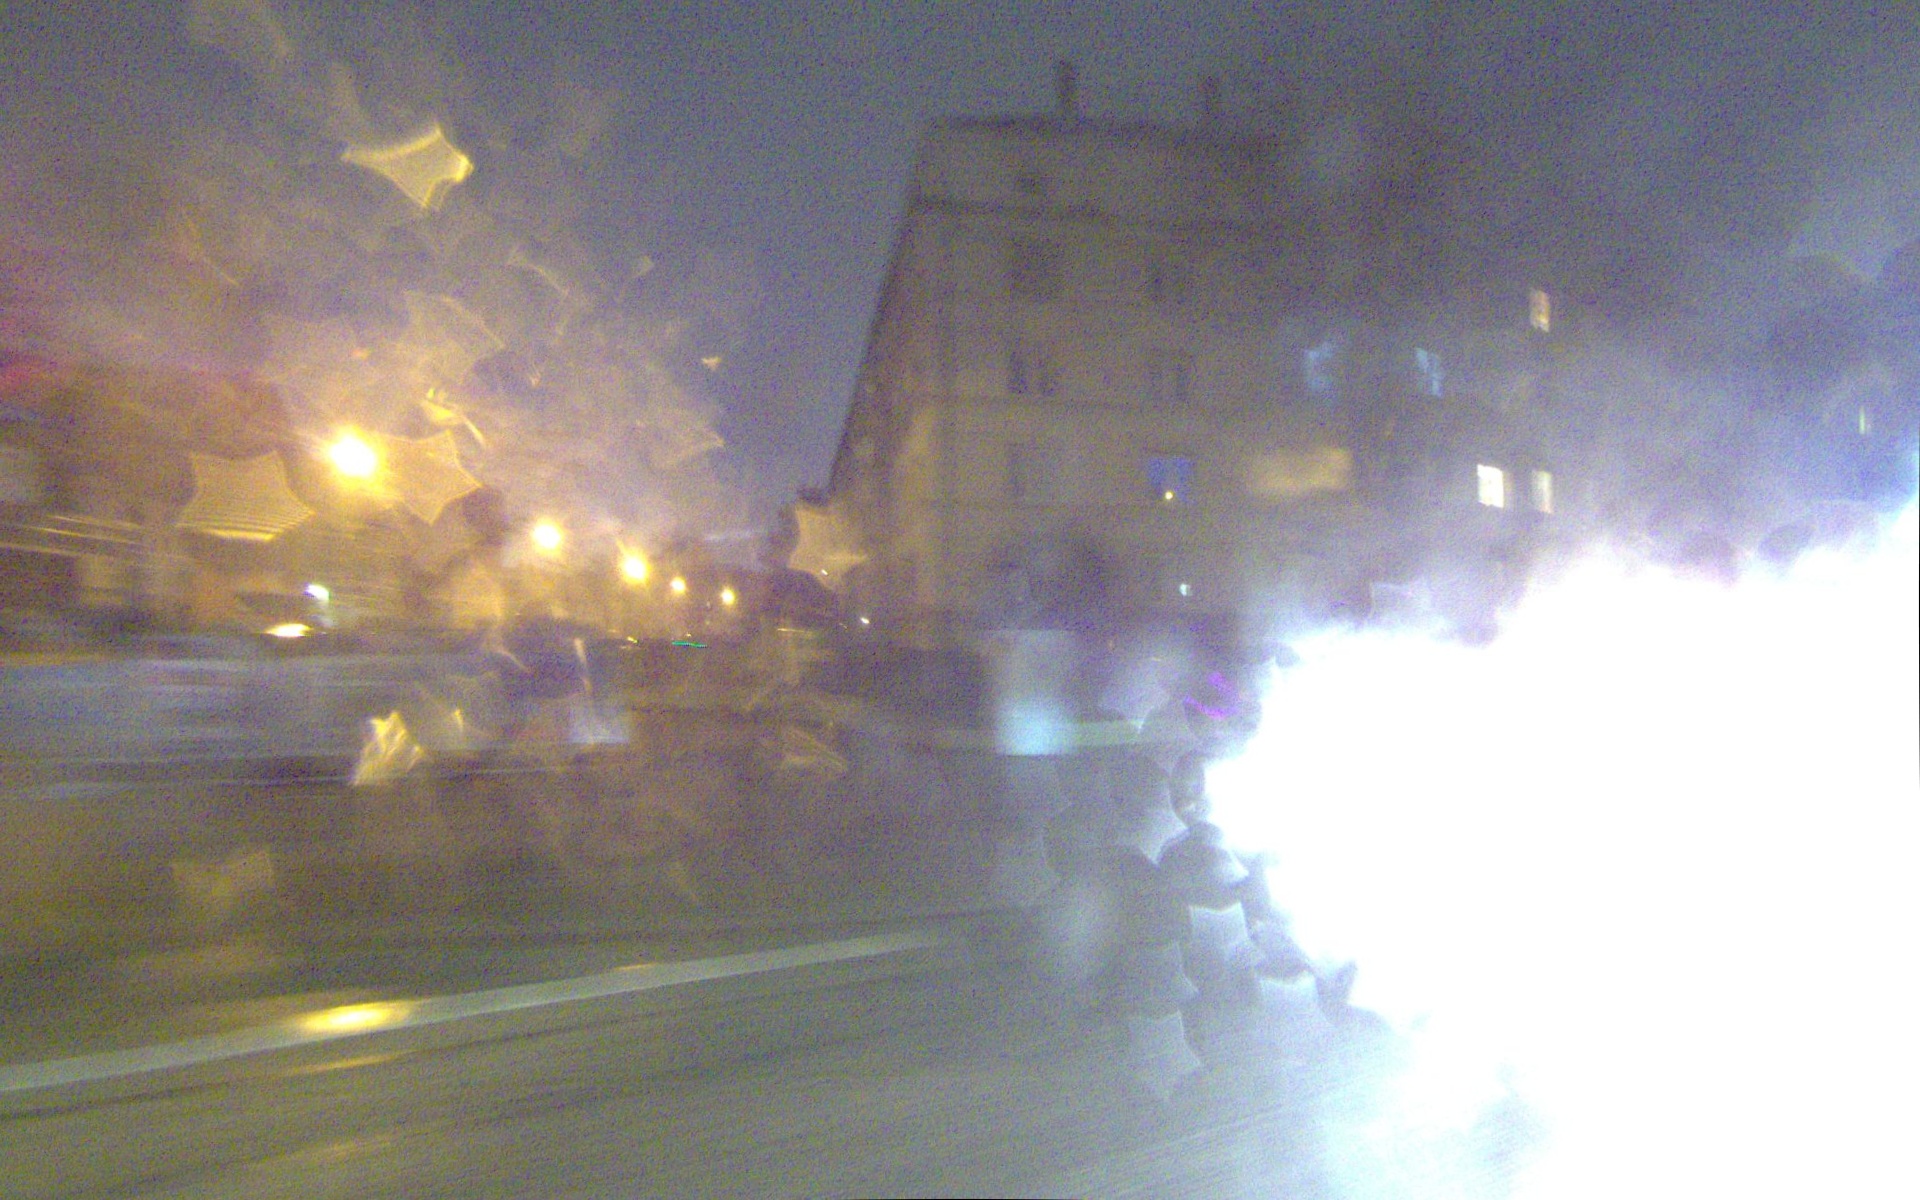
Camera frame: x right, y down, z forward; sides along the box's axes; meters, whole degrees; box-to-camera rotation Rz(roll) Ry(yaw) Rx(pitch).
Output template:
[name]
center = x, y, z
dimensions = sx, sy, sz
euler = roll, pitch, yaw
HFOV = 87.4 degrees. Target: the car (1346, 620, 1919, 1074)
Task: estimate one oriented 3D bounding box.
[car]
center = 3.378, 0.862, 4.761
dimensions = 2.761, 1.519, 1.540
euler = 1, -1, -31
